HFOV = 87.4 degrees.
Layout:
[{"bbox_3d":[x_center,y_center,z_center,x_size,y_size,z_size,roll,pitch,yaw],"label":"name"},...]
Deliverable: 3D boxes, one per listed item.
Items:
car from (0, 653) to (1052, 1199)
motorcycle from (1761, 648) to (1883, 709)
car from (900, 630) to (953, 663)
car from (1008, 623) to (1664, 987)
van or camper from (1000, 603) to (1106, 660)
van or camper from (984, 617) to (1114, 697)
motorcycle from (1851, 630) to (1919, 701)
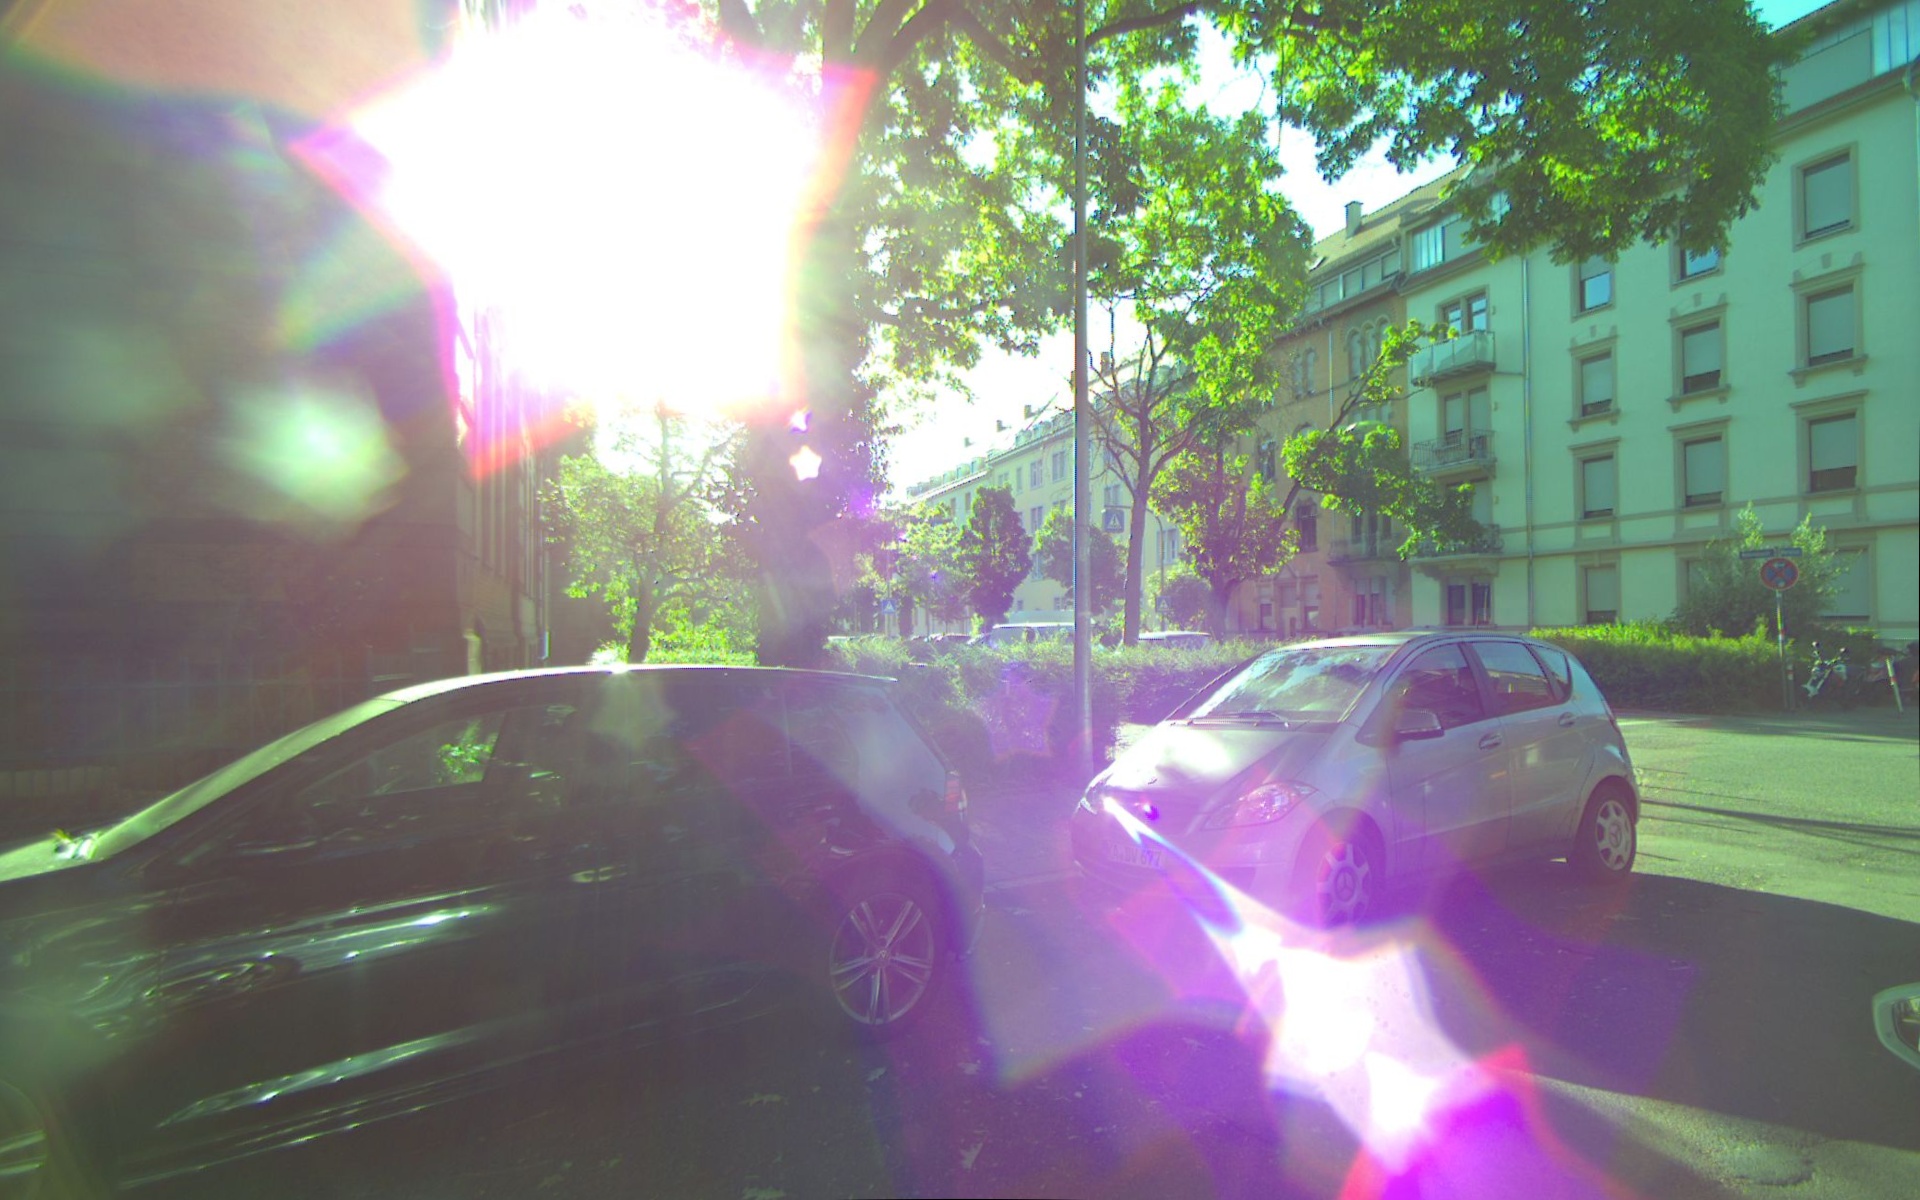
[{"bbox_3d":[-1.934,1.035,3.595,4.421,1.493,1.735,1,-6,-36],"label":"car"},{"bbox_3d":[15.807,1.421,18.430,1.788,0.999,0.690,0,2,-10],"label":"motorcycle"},{"bbox_3d":[-1.903,2.550,55.676,1.627,1.762,3.979,0,-2,-23],"label":"car"},{"bbox_3d":[2.389,0.997,6.190,3.874,1.570,1.689,0,-5,-31],"label":"car"},{"bbox_3d":[4.586,1.524,49.567,4.852,2.671,1.989,0,-2,-24],"label":"van or camper"},{"bbox_3d":[2.386,1.549,28.200,1.747,2.040,4.366,0,-2,-23],"label":"van or camper"},{"bbox_3d":[17.980,1.242,19.306,1.585,1.311,0.518,0,0,-16],"label":"motorcycle"}]
